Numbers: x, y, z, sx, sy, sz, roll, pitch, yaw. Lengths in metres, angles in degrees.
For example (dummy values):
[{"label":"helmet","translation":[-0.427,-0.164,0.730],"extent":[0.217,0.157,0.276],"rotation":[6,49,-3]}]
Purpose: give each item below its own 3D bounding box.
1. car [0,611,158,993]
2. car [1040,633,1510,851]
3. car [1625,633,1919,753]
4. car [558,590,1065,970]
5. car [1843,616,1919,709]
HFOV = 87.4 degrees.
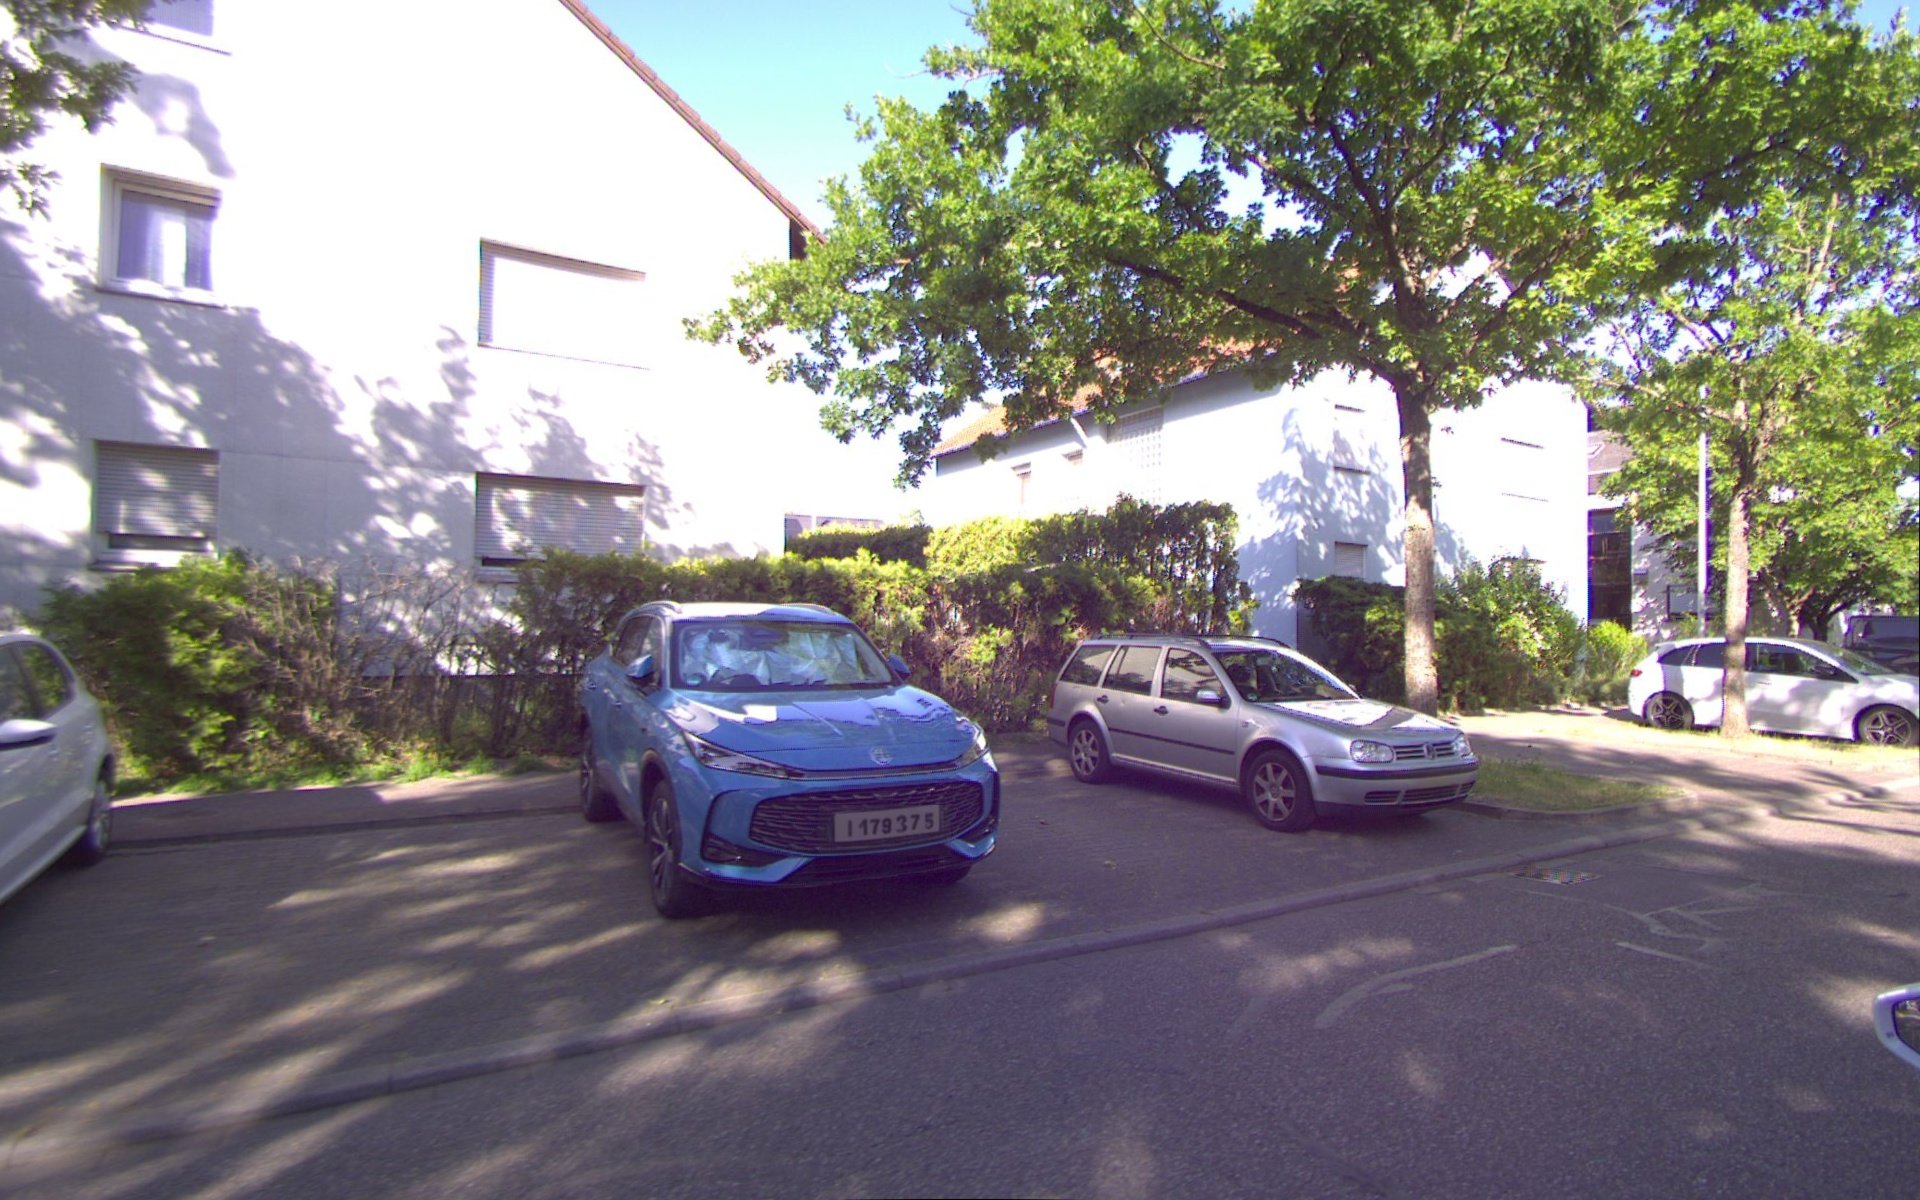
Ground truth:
[{"label":"car","translation":[-5.354,0.879,4.700],"extent":[1.835,1.616,3.970],"rotation":[1,-2,-29]},{"label":"car","translation":[2.566,1.086,9.231],"extent":[1.627,1.511,4.164],"rotation":[2,-3,-29]},{"label":"car","translation":[12.784,1.306,15.164],"extent":[1.748,1.497,4.256],"rotation":[1,-1,-30]},{"label":"car","translation":[-1.383,0.813,6.820],"extent":[1.914,1.653,4.504],"rotation":[2,-1,-29]},{"label":"car","translation":[21.572,1.314,20.672],"extent":[1.996,1.942,4.753],"rotation":[1,-1,-32]}]
